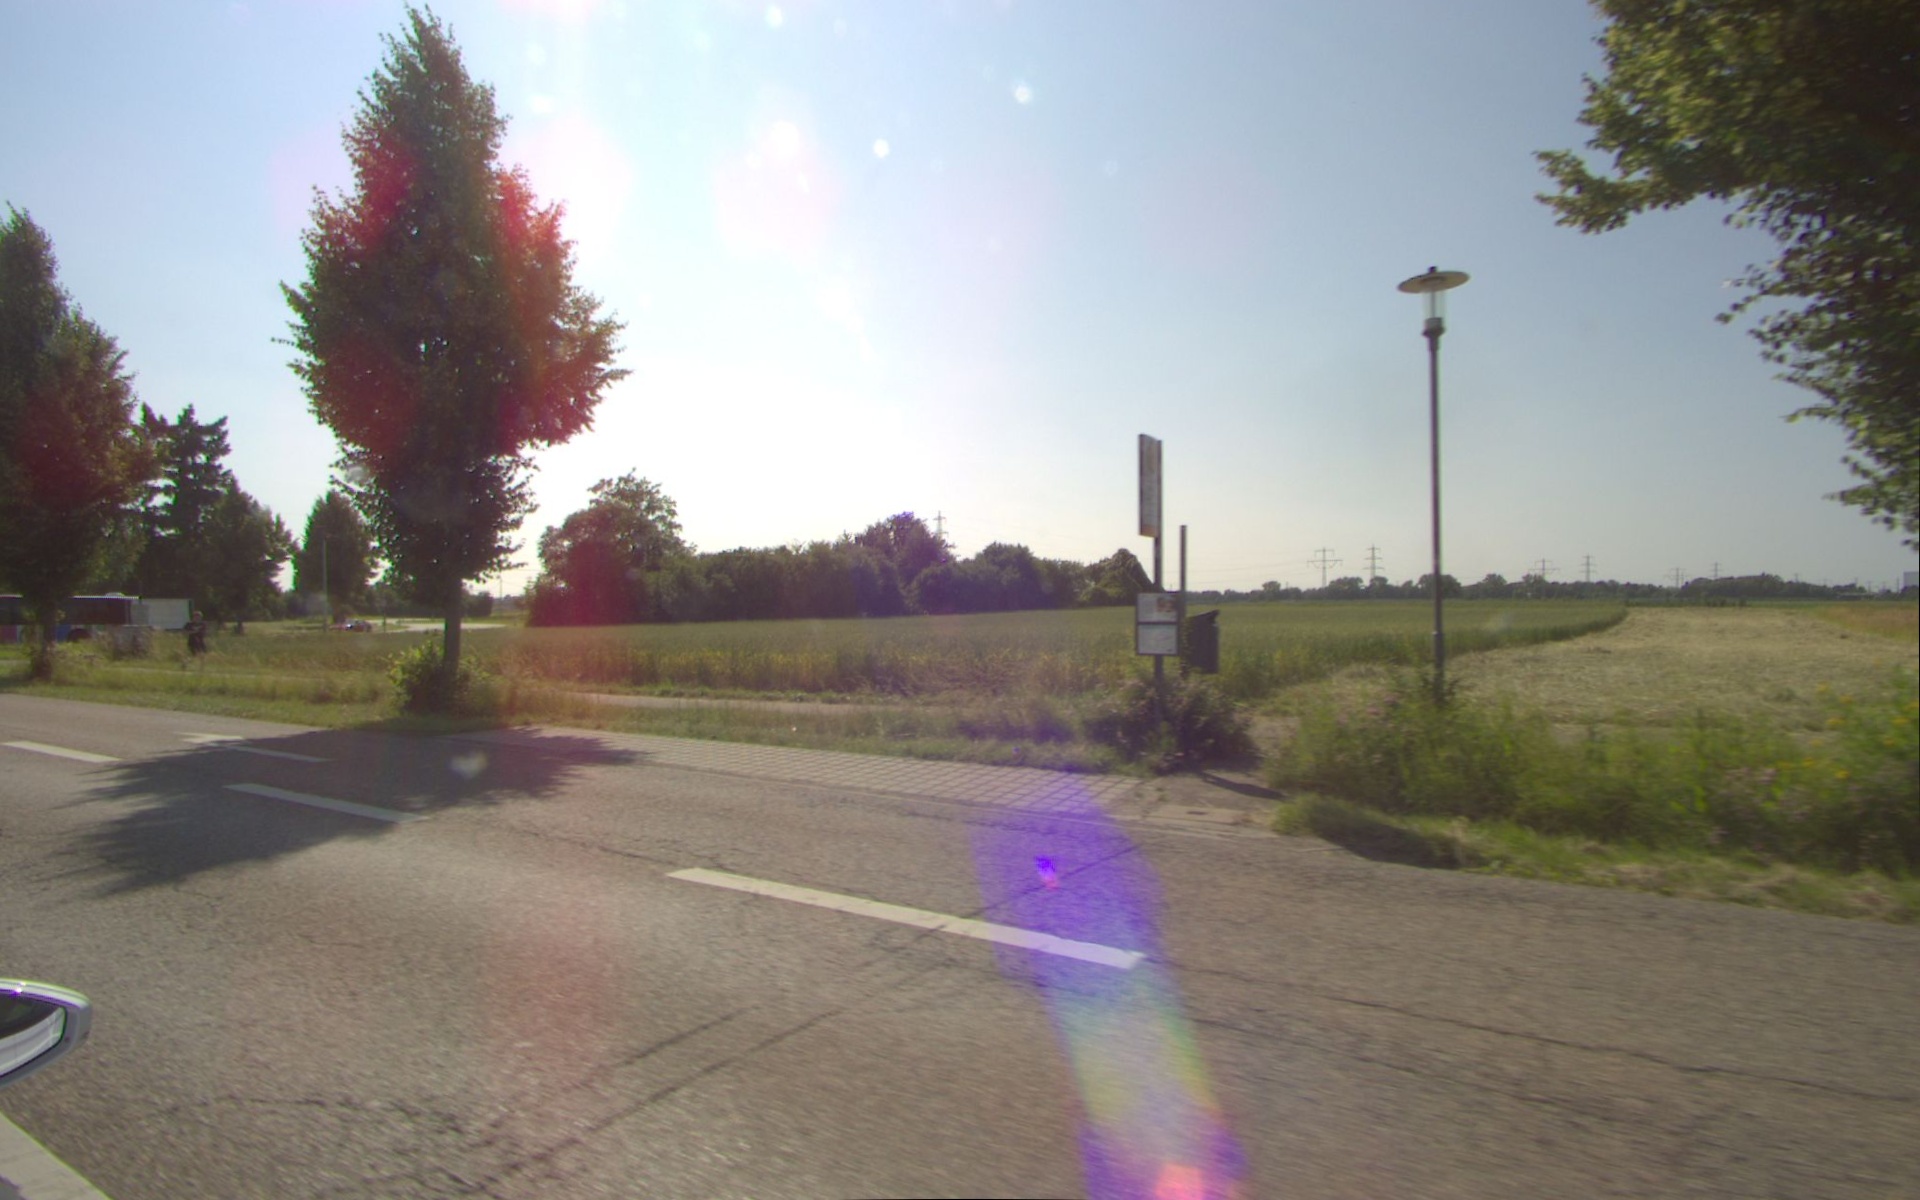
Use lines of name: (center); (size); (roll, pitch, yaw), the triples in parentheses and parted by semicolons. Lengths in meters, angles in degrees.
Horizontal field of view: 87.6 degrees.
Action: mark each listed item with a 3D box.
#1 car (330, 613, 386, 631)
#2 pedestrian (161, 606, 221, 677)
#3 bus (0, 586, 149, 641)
car: (-48.934, 1.777, 81.508); (1.649, 1.416, 3.998); (0, 0, 10)
pedestrian: (-20.702, 1.082, 26.958); (1.177, 1.863, 0.900); (0, 0, 30)
bus: (-51.491, 0.713, 54.417); (2.889, 2.915, 11.958); (-1, 0, 17)
